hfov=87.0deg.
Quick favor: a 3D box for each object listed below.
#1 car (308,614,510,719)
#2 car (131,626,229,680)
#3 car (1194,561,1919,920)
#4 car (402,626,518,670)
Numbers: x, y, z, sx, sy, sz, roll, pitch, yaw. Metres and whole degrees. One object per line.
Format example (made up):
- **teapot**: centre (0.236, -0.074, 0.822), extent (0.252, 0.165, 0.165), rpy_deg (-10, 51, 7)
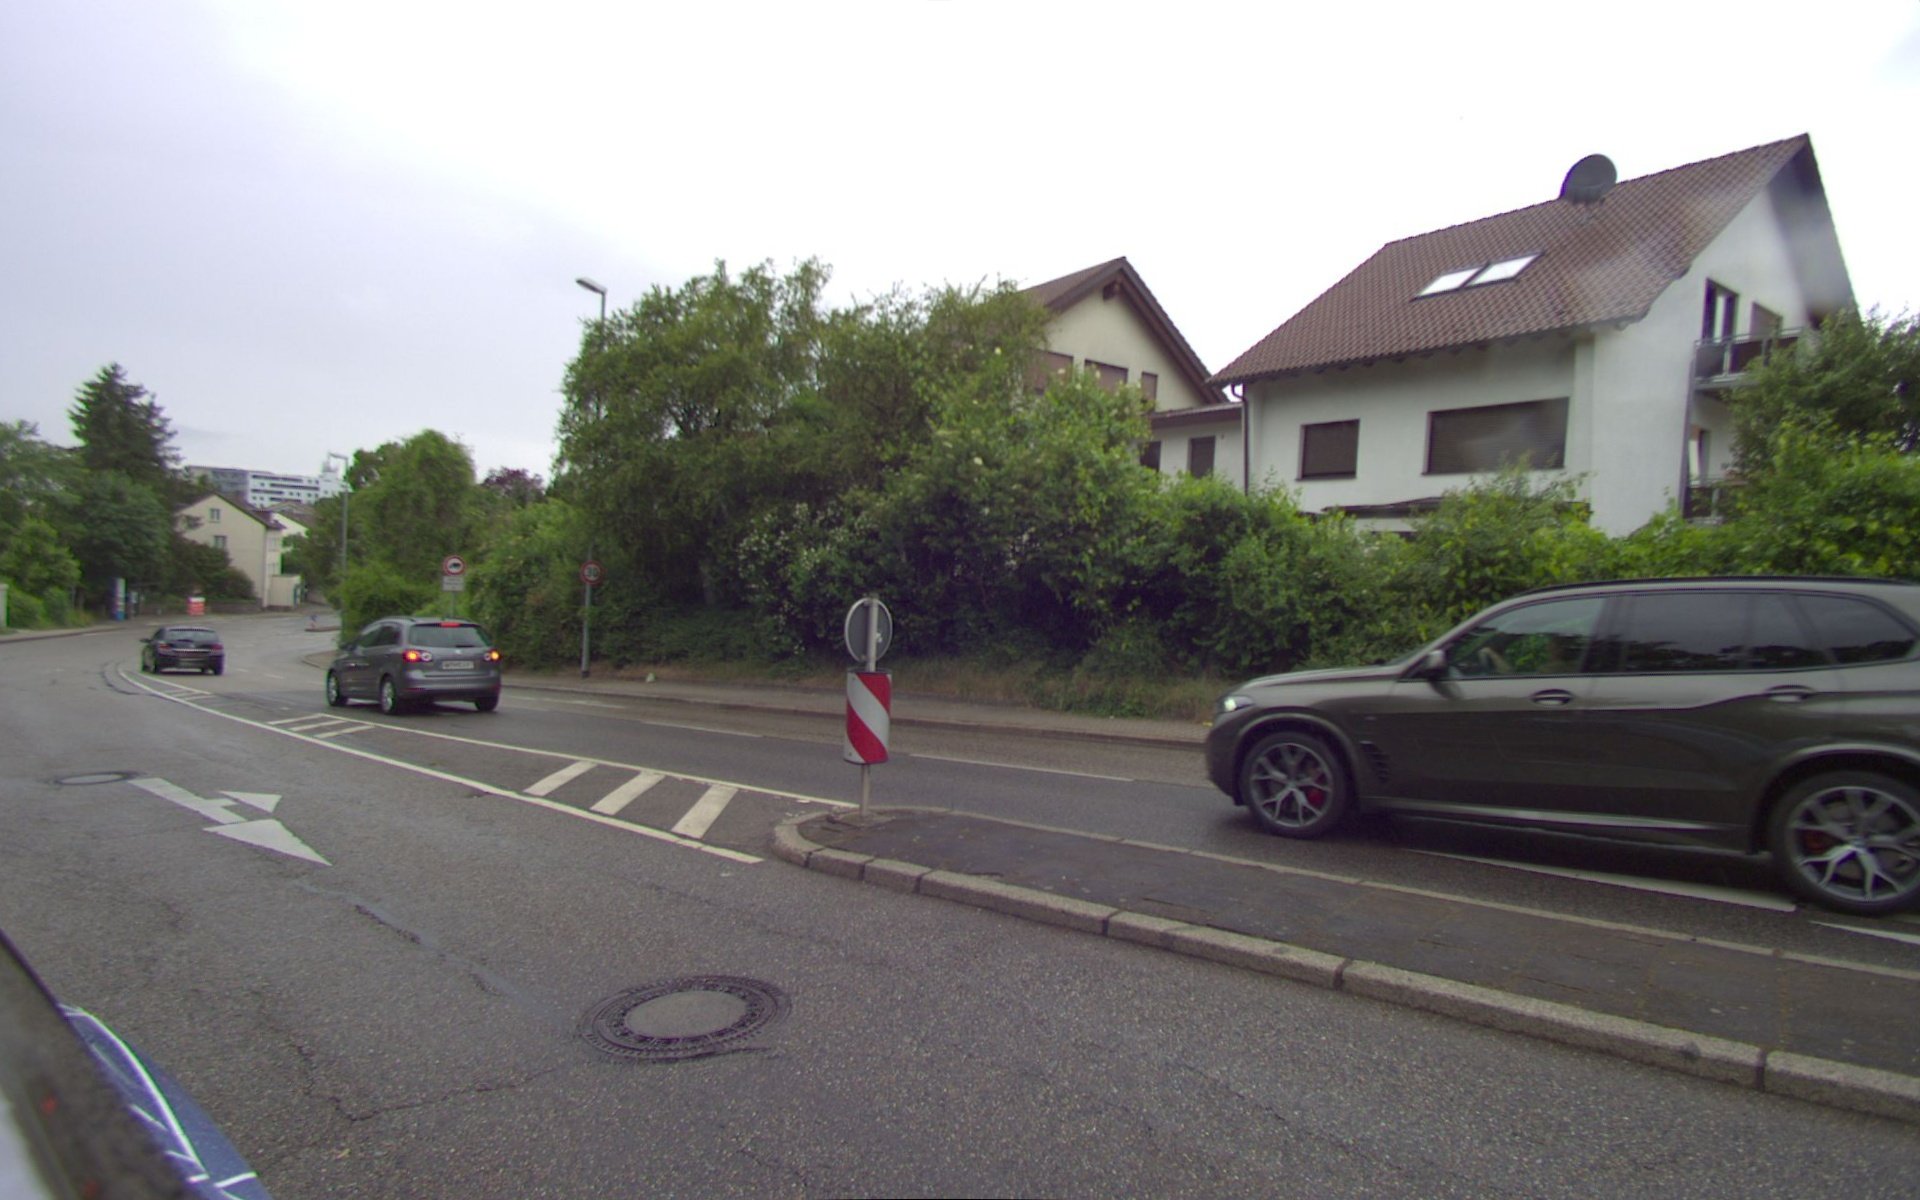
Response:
- **car**: centre (-9.667, 1.099, 17.645), extent (4.029, 1.614, 1.724), rpy_deg (-1, -3, 41)
- **car**: centre (-23.754, 1.582, 30.762), extent (1.873, 1.521, 4.003), rpy_deg (3, -3, -44)
- **car**: centre (4.128, 0.734, 6.587), extent (4.712, 1.730, 1.974), rpy_deg (-1, -3, 39)
- **car**: centre (-20.988, 1.987, 42.561), extent (3.939, 1.548, 2.003), rpy_deg (-3, 1, -42)
